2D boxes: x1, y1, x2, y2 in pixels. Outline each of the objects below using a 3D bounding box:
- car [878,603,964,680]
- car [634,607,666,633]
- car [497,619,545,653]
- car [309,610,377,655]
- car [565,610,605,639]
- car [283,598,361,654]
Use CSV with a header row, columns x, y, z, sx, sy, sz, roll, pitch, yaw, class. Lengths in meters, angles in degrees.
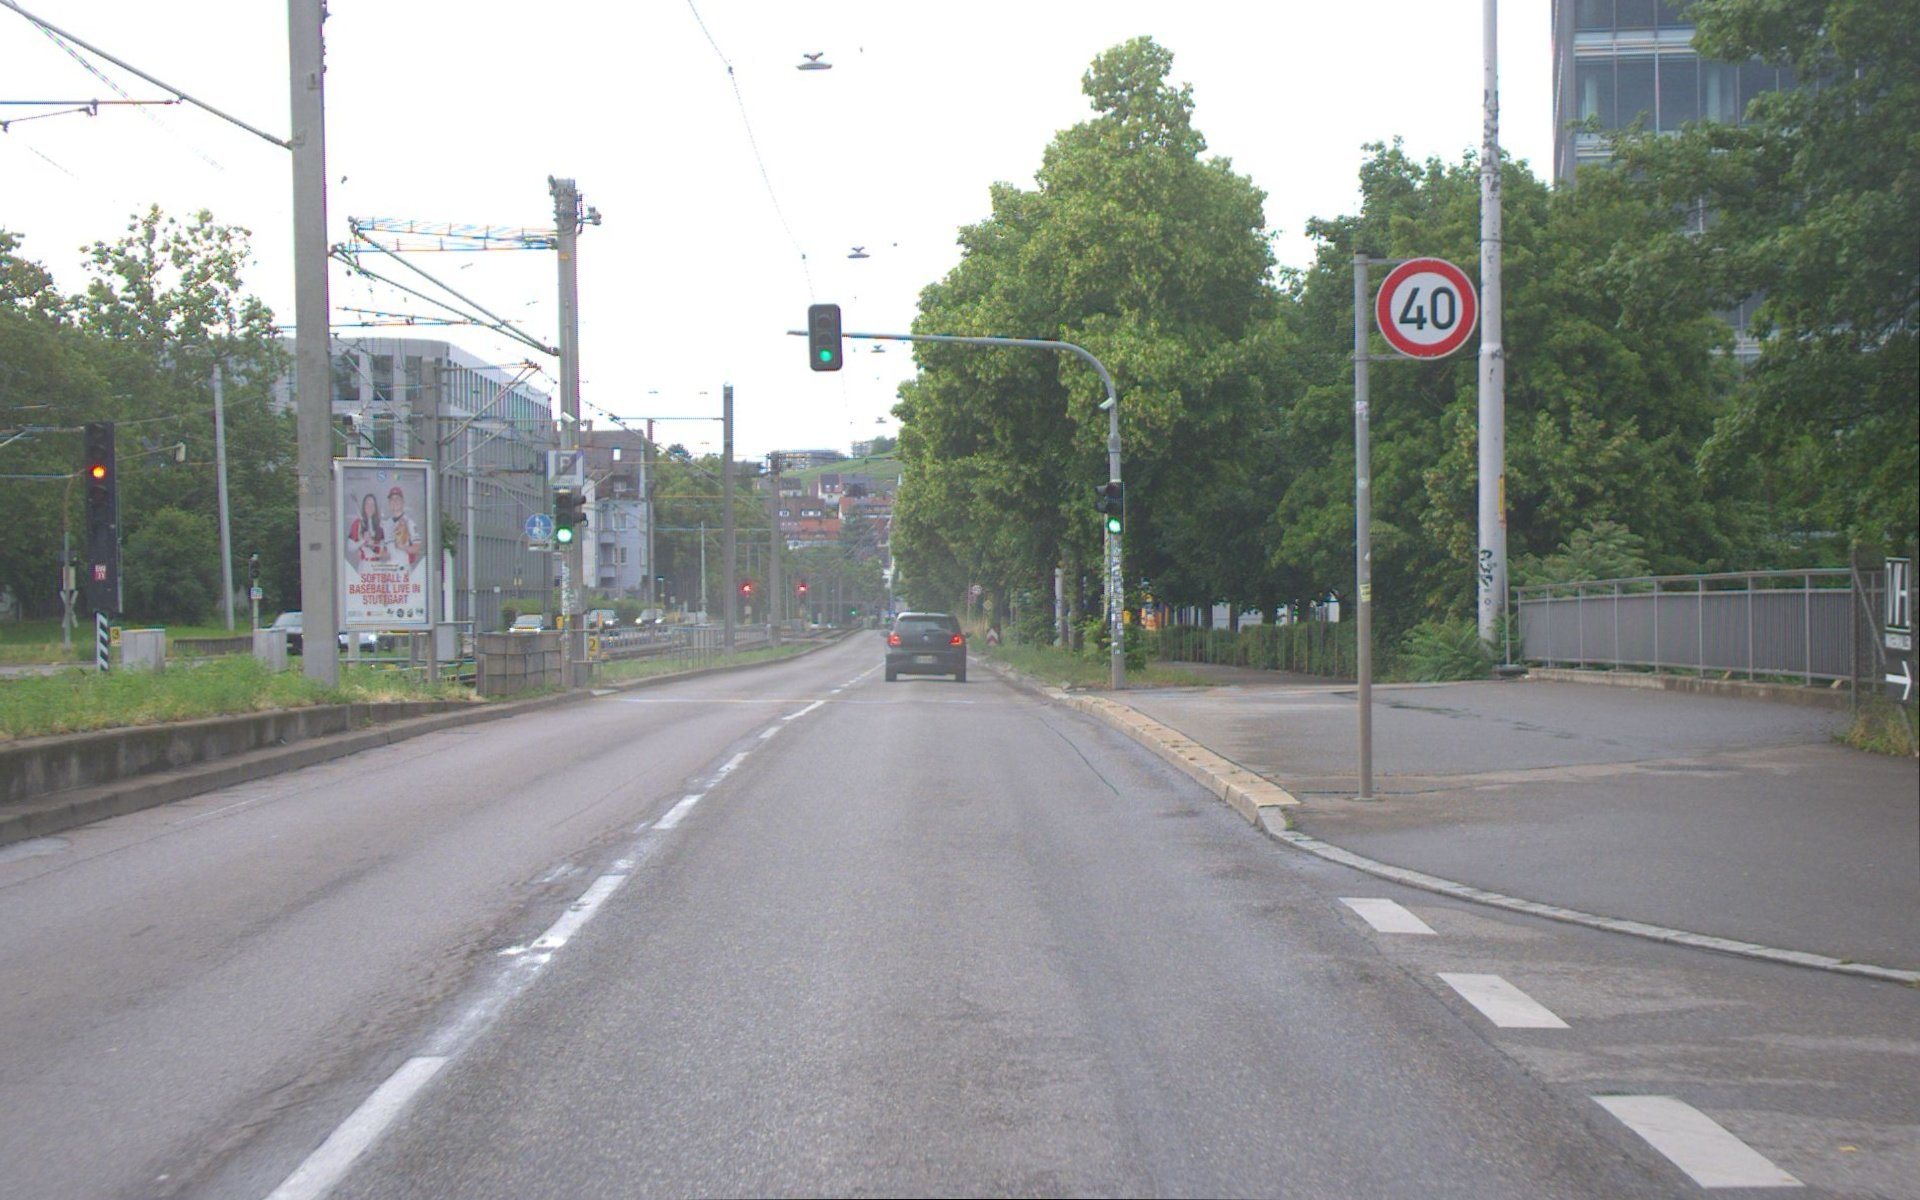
x,y,z,sx,sy,sz,roll,pitch,yaw,class
-0.817,0.842,70.973,1.726,1.535,4.000,0,0,-1,car
-22.134,1.435,245.420,1.653,1.626,3.609,2,2,4,car
-24.051,1.980,188.500,1.850,1.626,3.609,2,2,4,car
-25.651,1.339,143.113,1.850,1.626,3.811,2,2,4,car
-23.944,1.535,219.539,1.850,1.626,3.609,2,2,4,car
-20.776,0.831,111.959,1.667,1.626,3.303,2,2,4,car
